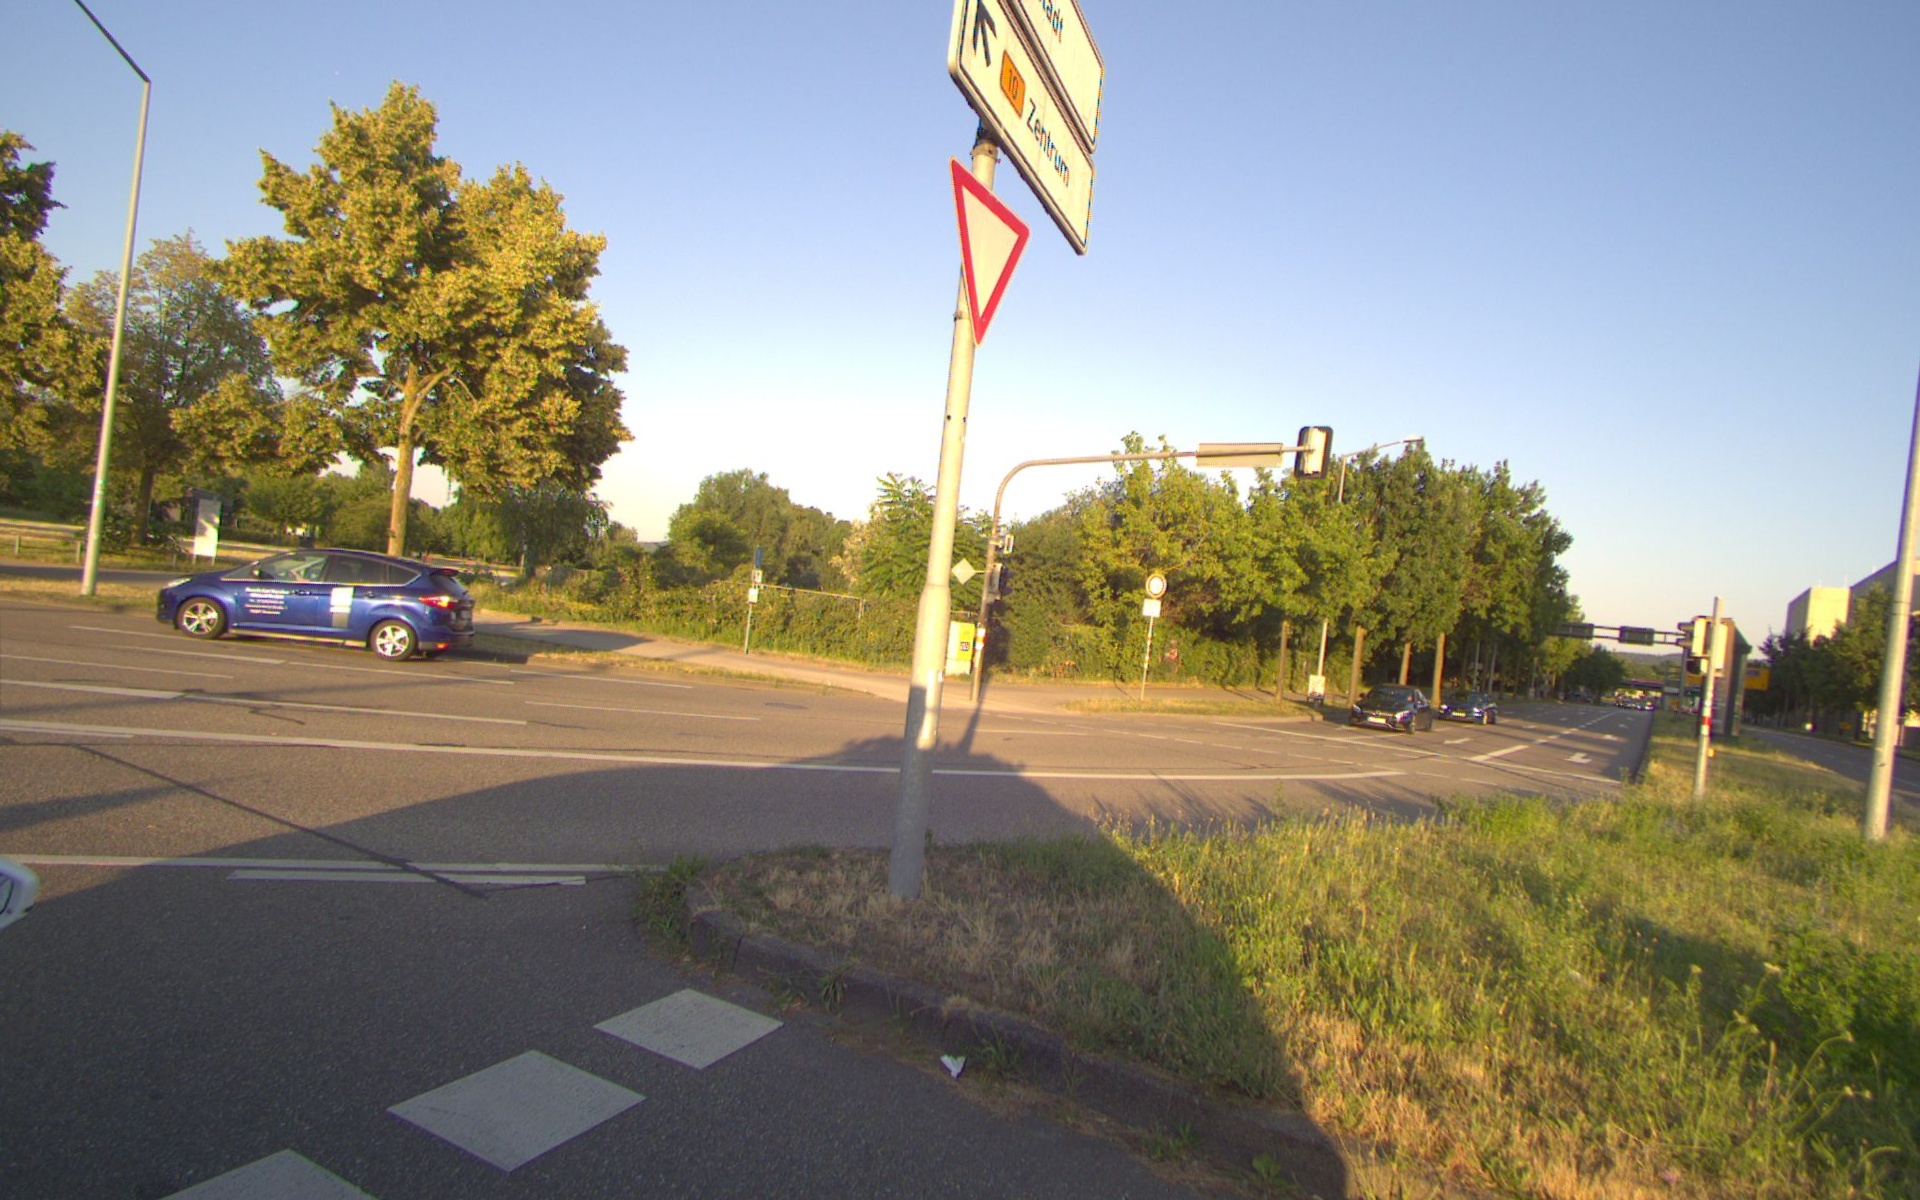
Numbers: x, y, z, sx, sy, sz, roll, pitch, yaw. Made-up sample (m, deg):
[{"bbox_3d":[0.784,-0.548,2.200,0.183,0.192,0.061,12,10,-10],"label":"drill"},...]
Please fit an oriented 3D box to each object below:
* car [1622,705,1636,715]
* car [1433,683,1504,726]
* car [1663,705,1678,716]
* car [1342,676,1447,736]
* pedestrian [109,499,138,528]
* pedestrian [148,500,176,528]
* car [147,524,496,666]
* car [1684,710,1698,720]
[{"bbox_3d":[133.315,21.927,200.434,1.967,1.801,3.994,6,-2,32],"label":"car"},{"bbox_3d":[22.452,4.596,44.317,1.969,1.523,4.758,7,-1,35],"label":"car"},{"bbox_3d":[134.312,20.857,190.261,1.968,1.648,3.991,6,-1,33],"label":"car"},{"bbox_3d":[13.815,3.344,31.821,1.969,1.523,4.607,7,-1,36],"label":"car"},{"bbox_3d":[-53.217,-5.491,64.018,0.896,1.637,1.070,7,0,34],"label":"pedestrian"},{"bbox_3d":[-52.054,-5.626,65.601,0.896,1.637,1.070,7,0,34],"label":"pedestrian"},{"bbox_3d":[-9.901,-0.042,15.957,4.111,1.602,1.913,7,-1,-11],"label":"car"},{"bbox_3d":[150.657,23.640,207.329,1.968,1.648,3.990,7,-1,34],"label":"car"}]
